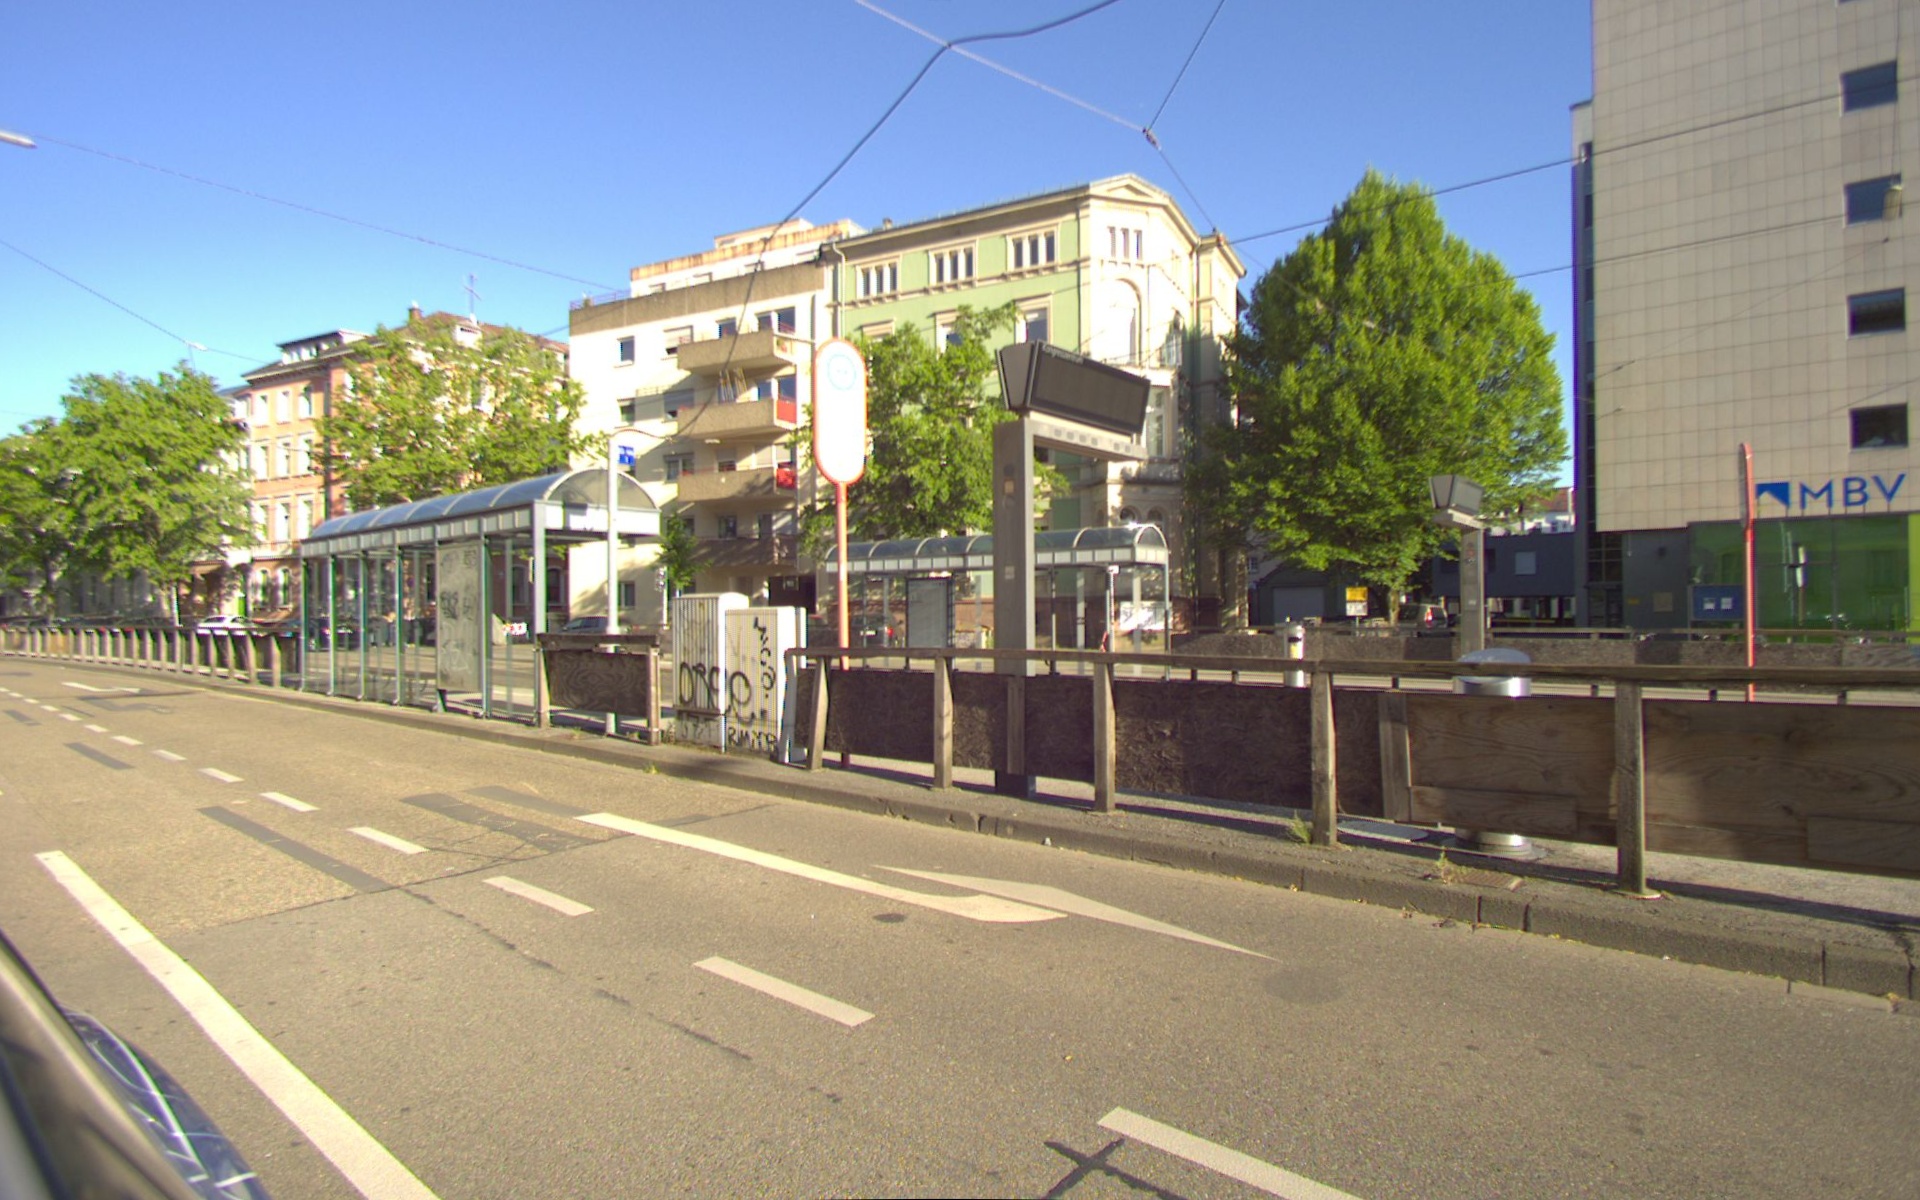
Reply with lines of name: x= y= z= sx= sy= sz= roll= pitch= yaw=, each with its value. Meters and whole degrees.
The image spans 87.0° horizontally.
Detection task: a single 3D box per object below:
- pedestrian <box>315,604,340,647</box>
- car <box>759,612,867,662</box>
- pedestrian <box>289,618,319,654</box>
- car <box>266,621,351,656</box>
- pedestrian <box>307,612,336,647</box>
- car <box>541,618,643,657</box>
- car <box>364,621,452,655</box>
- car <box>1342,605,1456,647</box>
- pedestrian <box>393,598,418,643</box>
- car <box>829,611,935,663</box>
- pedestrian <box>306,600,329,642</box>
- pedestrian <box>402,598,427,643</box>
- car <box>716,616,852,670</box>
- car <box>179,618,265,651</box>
pedestrian: x=-33.026 y=1.330 z=52.849 sx=0.753 sy=2.224 sz=0.804 roll=-1 pitch=-2 yaw=30
car: x=-4.936 y=1.229 z=34.442 sx=1.754 sy=1.594 sz=3.965 roll=-1 pitch=-1 yaw=26
pedestrian: x=-30.255 y=1.659 z=46.689 sx=0.888 sy=1.641 sz=0.859 roll=-1 pitch=-2 yaw=31
car: x=-27.046 y=1.585 z=41.973 sx=3.870 sy=1.419 sz=1.650 roll=-1 pitch=-2 yaw=35
pedestrian: x=-31.936 y=1.471 z=50.635 sx=1.016 sy=1.733 sz=0.846 roll=-1 pitch=-2 yaw=32
car: x=-14.041 y=1.418 z=38.606 sx=3.725 sy=1.438 sz=1.637 roll=-1 pitch=-1 yaw=29
car: x=-23.807 y=1.609 z=43.610 sx=3.986 sy=1.407 sz=1.592 roll=-1 pitch=-2 yaw=32
car: x=15.768 y=0.897 z=36.472 sx=1.544 sy=1.423 sz=3.430 roll=-1 pitch=0 yaw=-38
pedestrian: x=-27.841 y=1.047 z=50.824 sx=0.753 sy=2.224 sz=0.804 roll=-1 pitch=-2 yaw=30
car: x=-2.503 y=1.197 z=33.394 sx=1.754 sy=1.594 sz=3.965 roll=-1 pitch=-1 yaw=26
pedestrian: x=-34.264 y=1.130 z=54.008 sx=0.755 sy=2.224 sz=0.803 roll=-1 pitch=-2 yaw=36
pedestrian: x=-27.134 y=1.038 z=50.311 sx=0.753 sy=2.224 sz=0.804 roll=-1 pitch=-2 yaw=30
car: x=-5.218 y=1.229 z=29.809 sx=3.990 sy=1.500 sz=1.629 roll=-1 pitch=-2 yaw=35
car: x=-39.496 y=1.821 z=54.268 sx=1.825 sy=1.721 sz=4.130 roll=0 pitch=-1 yaw=-5
